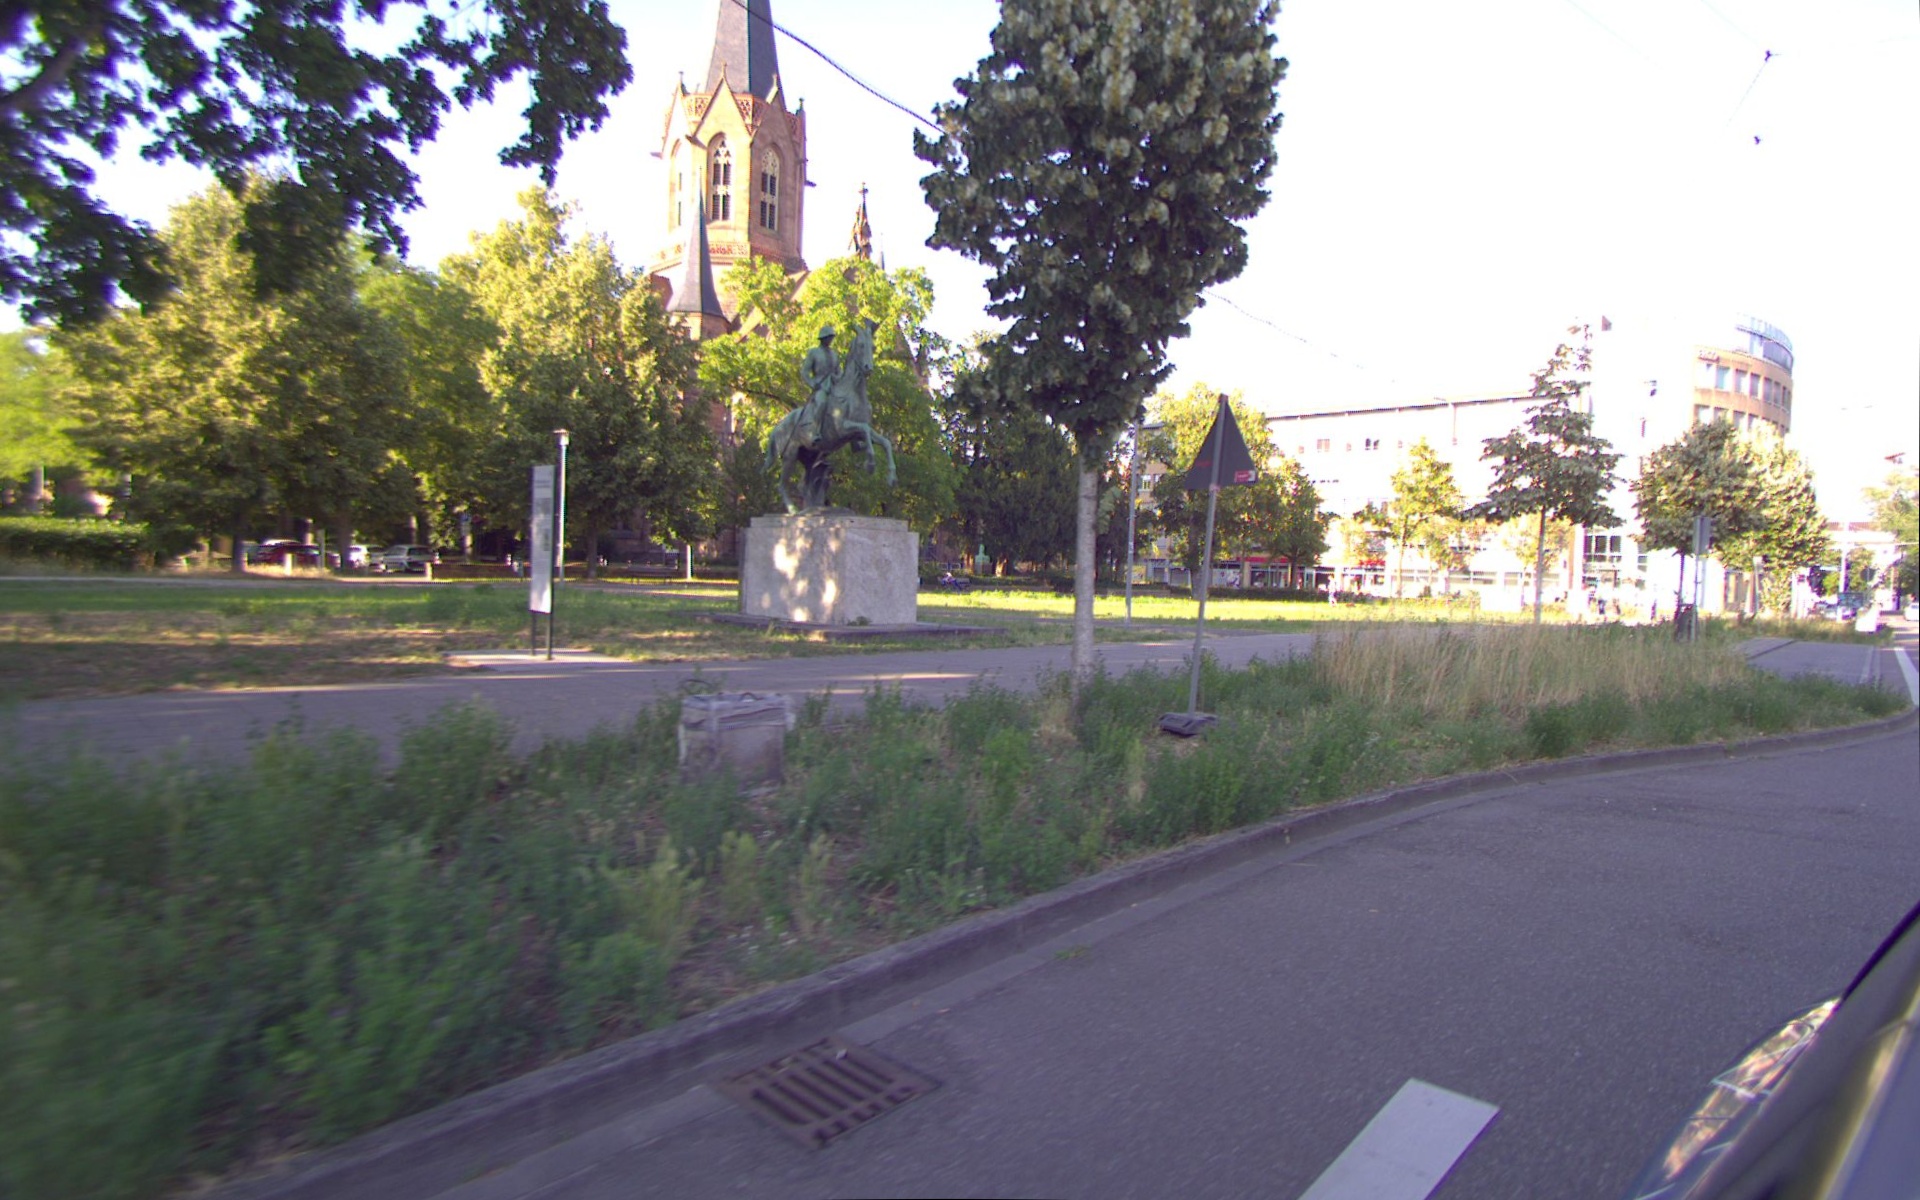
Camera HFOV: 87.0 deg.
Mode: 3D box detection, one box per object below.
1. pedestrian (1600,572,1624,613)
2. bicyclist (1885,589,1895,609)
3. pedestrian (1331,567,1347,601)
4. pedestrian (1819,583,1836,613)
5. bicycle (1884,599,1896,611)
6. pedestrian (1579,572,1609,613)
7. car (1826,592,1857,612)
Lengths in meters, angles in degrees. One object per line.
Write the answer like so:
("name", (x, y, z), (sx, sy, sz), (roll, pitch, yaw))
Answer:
("pedestrian", (28.261, -0.322, 43.855), (0.768, 1.709, 0.598), (1, 3, -42))
("bicyclist", (77.988, -0.106, 84.867), (0.818, 1.630, 0.551), (1, 2, -44))
("pedestrian", (20.106, -0.833, 53.690), (0.632, 1.760, 0.595), (2, 1, 11))
("pedestrian", (51.518, -0.108, 60.120), (0.703, 1.745, 0.650), (0, 2, -44))
("bicycle", (77.951, 0.444, 84.849), (1.747, 0.940, 0.608), (0, 2, -44))
("pedestrian", (27.011, -0.299, 43.127), (0.900, 1.669, 0.740), (1, 4, -42))
("car", (70.506, 0.126, 80.907), (1.765, 1.491, 3.952), (1, 1, 43))
